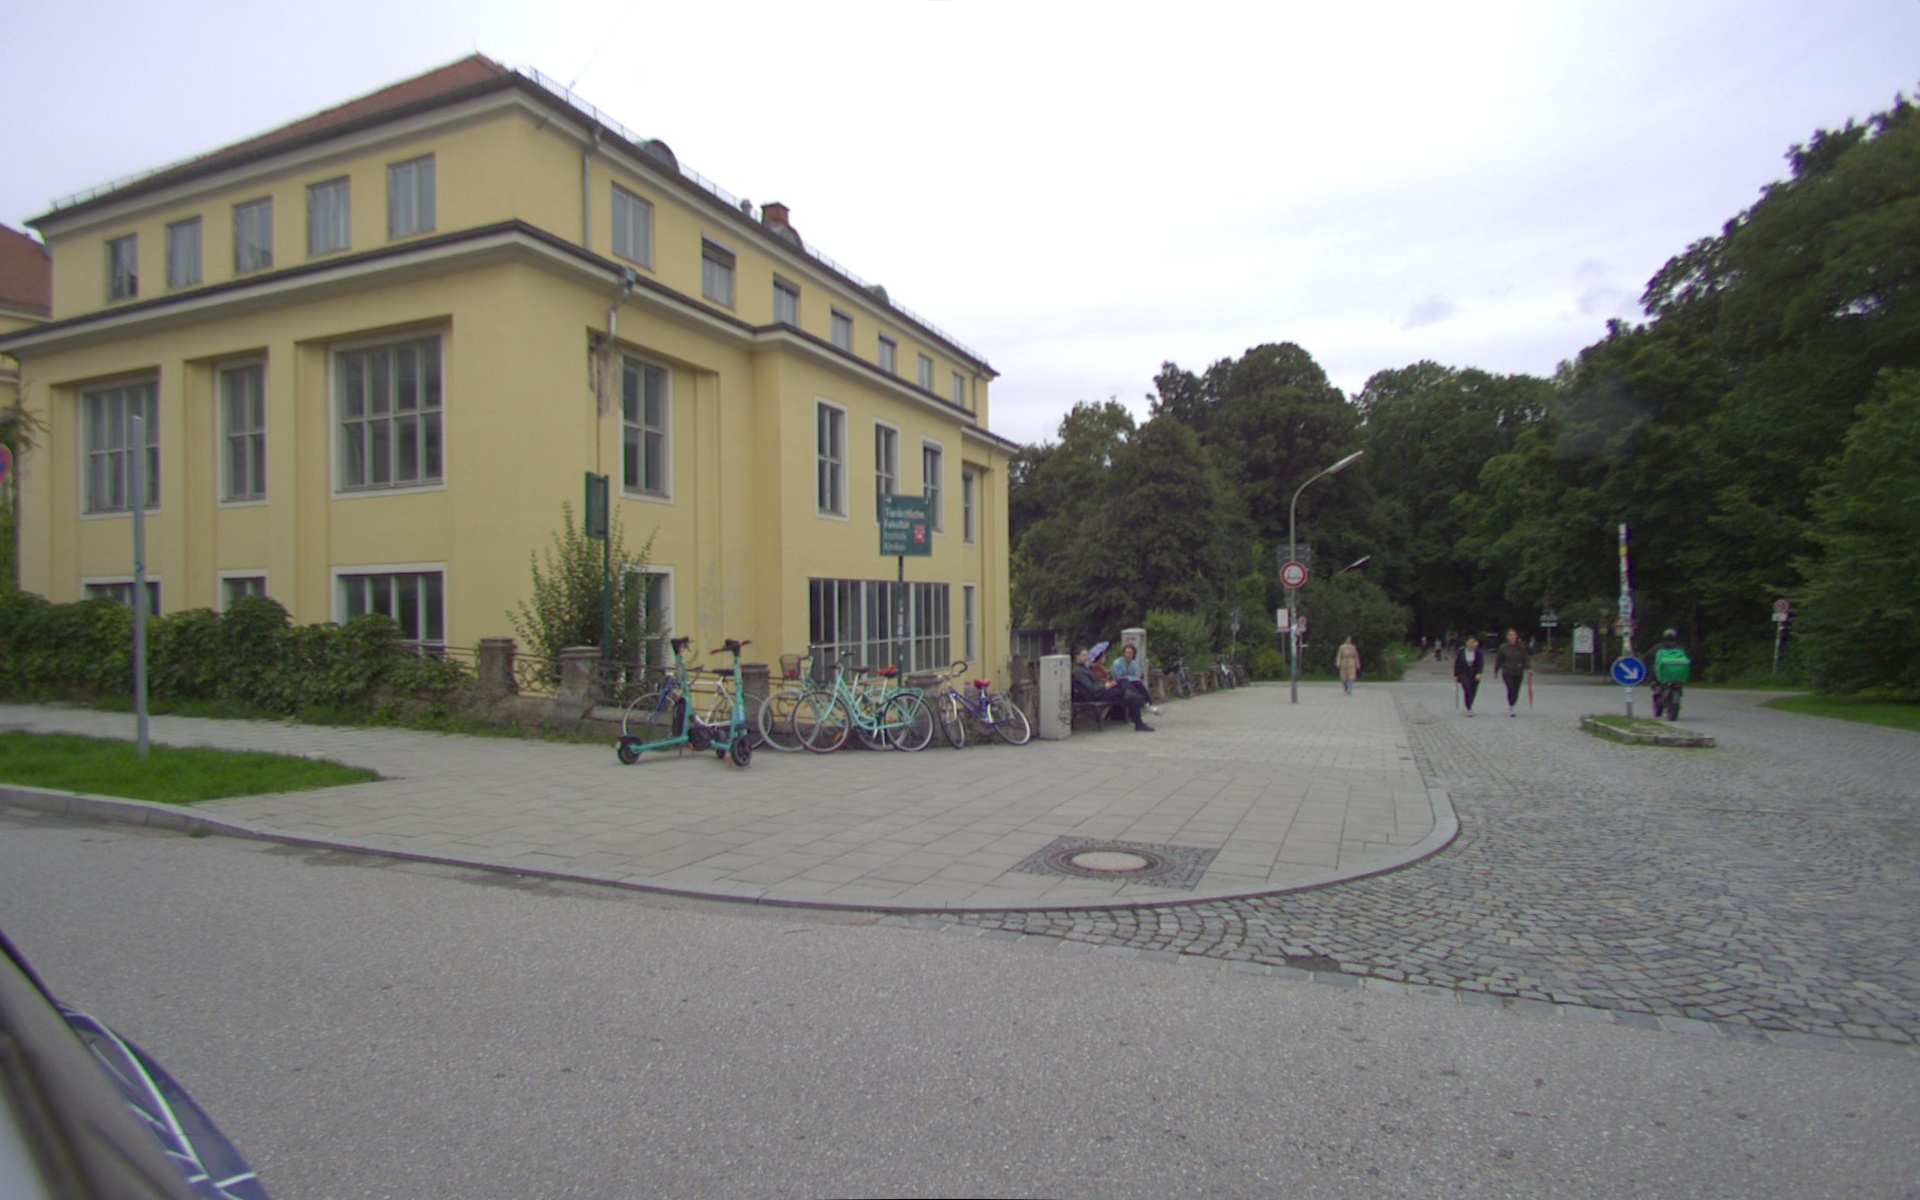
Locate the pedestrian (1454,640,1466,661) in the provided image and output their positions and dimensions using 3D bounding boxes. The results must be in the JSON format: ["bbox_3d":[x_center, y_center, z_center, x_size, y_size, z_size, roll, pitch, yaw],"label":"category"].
[{"bbox_3d":[36.240,3.656,73.372,0.659,1.506,0.624,-1,-2,21],"label":"pedestrian"}]

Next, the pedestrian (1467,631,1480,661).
[{"bbox_3d":[35.385,3.181,69.686,0.692,2.029,0.712,-2,-3,24],"label":"pedestrian"}]

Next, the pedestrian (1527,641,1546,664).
[{"bbox_3d":[41.100,3.751,72.180,0.871,1.665,0.732,-1,-2,6],"label":"pedestrian"}]

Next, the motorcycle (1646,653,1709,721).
[{"bbox_3d":[13.192,1.575,18.652,0.715,1.107,1.958,-1,-1,30],"label":"motorcycle"}]

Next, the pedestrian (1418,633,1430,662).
[{"bbox_3d":[33.137,3.368,72.307,0.692,2.029,0.712,-2,-3,24],"label":"pedestrian"}]

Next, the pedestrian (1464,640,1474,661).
[{"bbox_3d":[36.953,3.683,73.519,0.536,1.506,0.540,-1,-2,21],"label":"pedestrian"}]

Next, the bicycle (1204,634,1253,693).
[{"bbox_3d":[8.285,1.919,31.401,1.040,1.674,3.144,-1,-1,8],"label":"bicycle"}]

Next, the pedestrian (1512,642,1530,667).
[{"bbox_3d":[38.724,3.763,69.865,0.722,1.665,0.883,1,-3,-42],"label":"pedestrian"}]

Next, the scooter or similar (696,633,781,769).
[{"bbox_3d":[-2.201,0.956,9.989,0.432,1.221,1.056,1,0,-35],"label":"scooter or similar"}]

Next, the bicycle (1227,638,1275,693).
[{"bbox_3d":[9.704,2.146,33.857,1.040,1.674,3.144,-1,-1,8],"label":"bicycle"}]

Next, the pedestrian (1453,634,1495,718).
[{"bbox_3d":[10.169,1.486,20.036,0.688,1.593,0.744,-1,-1,28],"label":"pedestrian"}]

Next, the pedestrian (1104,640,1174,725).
[{"bbox_3d":[2.977,1.344,16.773,1.024,1.345,0.950,-1,-1,17],"label":"pedestrian"}]

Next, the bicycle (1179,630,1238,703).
[{"bbox_3d":[6.183,1.608,25.343,1.040,1.674,3.145,-1,-1,7],"label":"bicycle"}]

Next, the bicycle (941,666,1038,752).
[{"bbox_3d":[0.375,1.334,12.667,1.256,0.985,0.415,1,-3,-41],"label":"bicycle"}]

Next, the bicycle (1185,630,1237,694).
[{"bbox_3d":[7.023,1.706,28.469,1.040,1.674,2.997,-1,-1,7],"label":"bicycle"}]

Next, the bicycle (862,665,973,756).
[{"bbox_3d":[-0.490,1.281,11.904,1.254,0.985,0.415,1,-2,-30],"label":"bicycle"}]

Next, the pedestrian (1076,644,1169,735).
[{"bbox_3d":[2.435,1.317,15.141,1.255,1.278,0.846,-1,-1,17],"label":"pedestrian"}]

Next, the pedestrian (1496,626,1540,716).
[{"bbox_3d":[10.885,1.370,19.759,0.657,1.710,0.745,-1,-1,25],"label":"pedestrian"}]

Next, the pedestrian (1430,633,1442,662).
[{"bbox_3d":[33.896,3.389,72.029,0.692,2.029,0.712,-2,-3,24],"label":"pedestrian"}]

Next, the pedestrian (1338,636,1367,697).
[{"bbox_3d":[11.500,1.928,29.669,0.744,1.719,1.104,-1,-1,20],"label":"pedestrian"}]

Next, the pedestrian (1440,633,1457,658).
[{"bbox_3d":[39.188,3.661,81.206,1.043,2.029,1.142,-1,-2,17],"label":"pedestrian"}]

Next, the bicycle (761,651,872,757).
[{"bbox_3d":[-1.592,1.138,11.270,1.171,1.119,0.302,1,-1,-26],"label":"bicycle"}]

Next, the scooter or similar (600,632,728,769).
[{"bbox_3d":[-2.954,0.970,10.178,0.393,1.253,1.249,1,0,35],"label":"scooter or similar"}]

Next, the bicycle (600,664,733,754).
[{"bbox_3d":[-3.204,1.180,11.085,1.313,0.900,0.434,1,-1,5],"label":"bicycle"}]

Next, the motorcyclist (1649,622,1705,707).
[{"bbox_3d":[13.148,1.163,18.581,0.711,1.512,0.890,-1,-1,30],"label":"motorcyclist"}]
